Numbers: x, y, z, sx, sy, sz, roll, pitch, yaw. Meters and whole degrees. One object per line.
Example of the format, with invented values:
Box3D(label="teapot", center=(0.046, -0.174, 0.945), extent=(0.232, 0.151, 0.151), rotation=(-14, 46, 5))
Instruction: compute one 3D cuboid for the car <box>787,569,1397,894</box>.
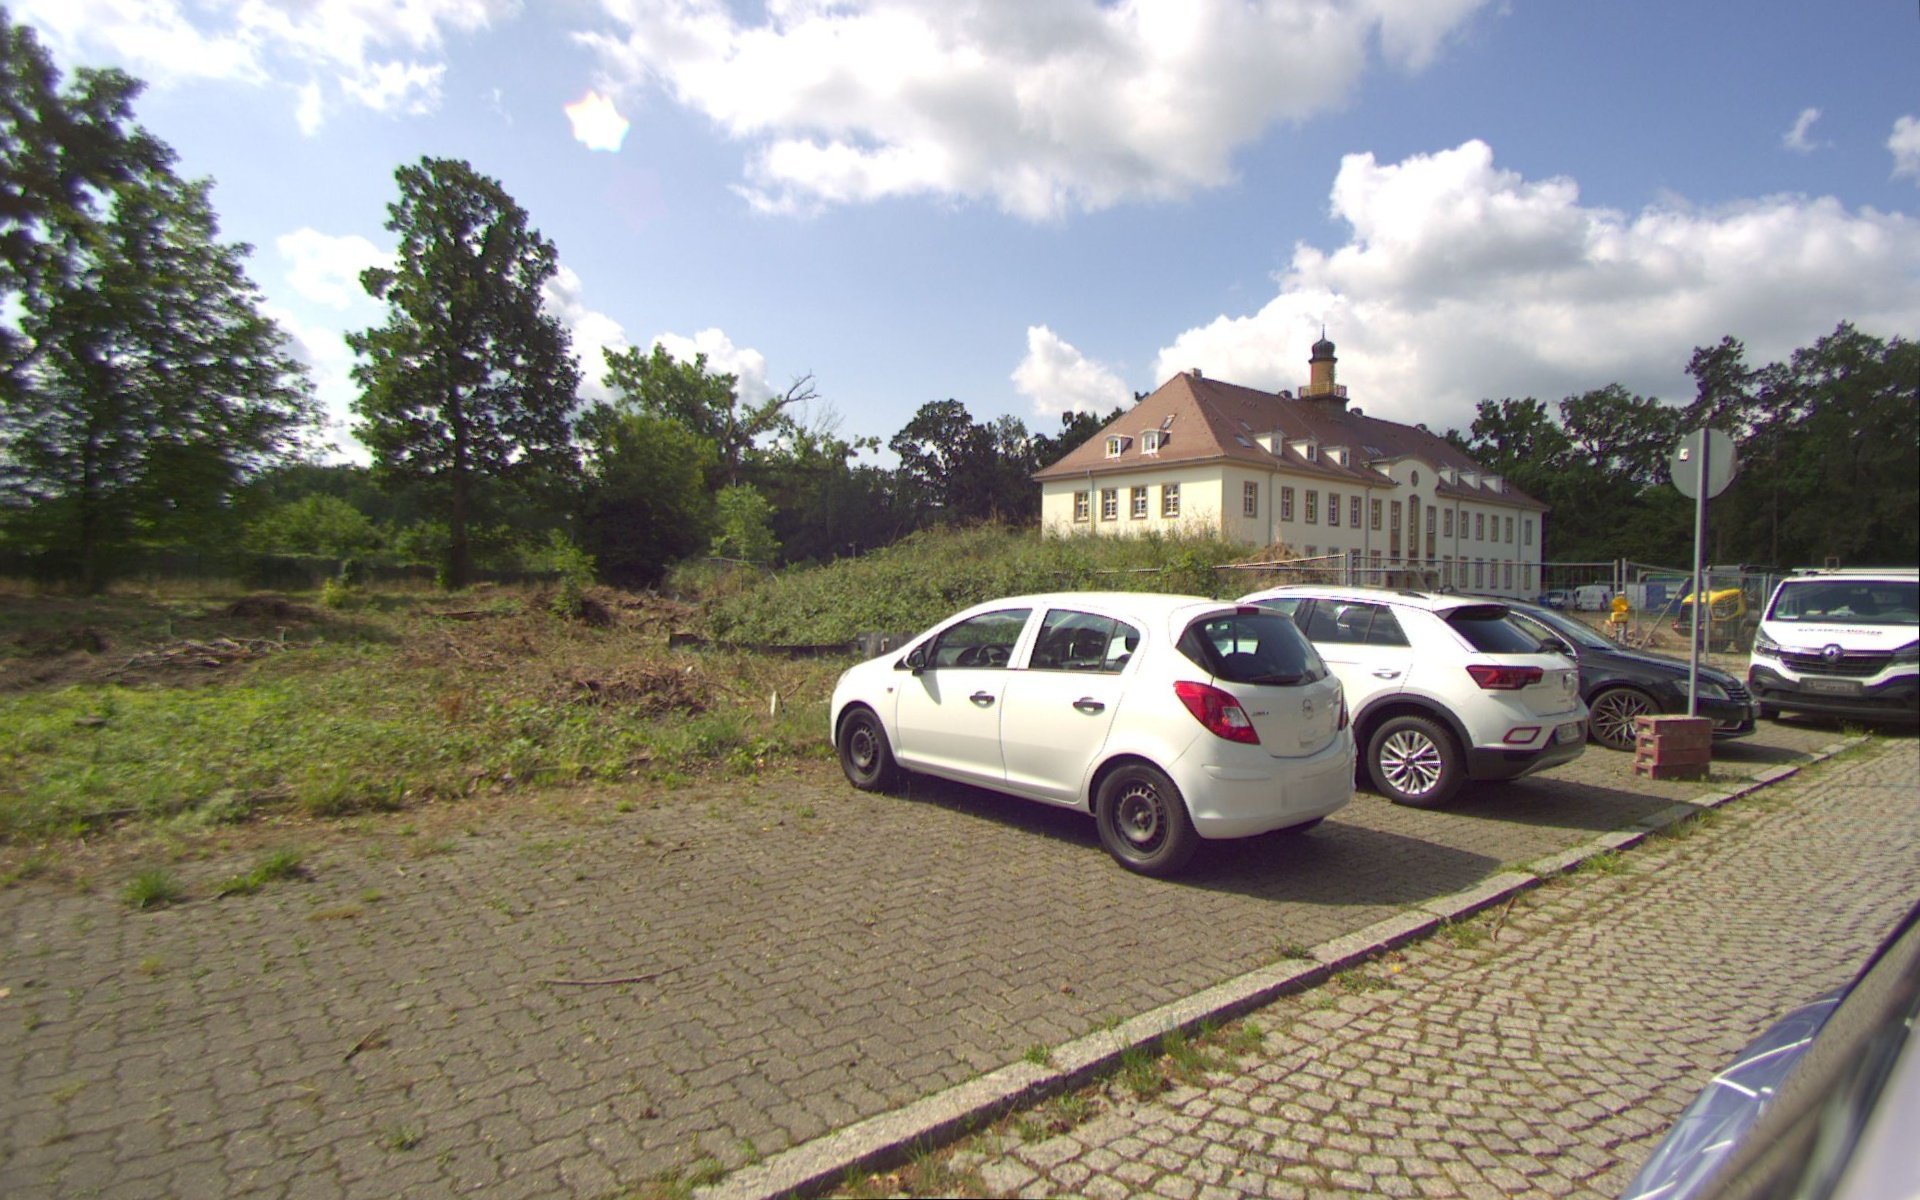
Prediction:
Box3D(label="car", center=(0.613, 0.585, 6.958), extent=(1.675, 1.482, 4.050), rotation=(0, 3, -41))

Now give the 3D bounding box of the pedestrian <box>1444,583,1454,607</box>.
Box3D(label="pedestrian", center=(37.680, -0.402, 78.032), extent=(0.496, 1.810, 0.492), rotation=(1, 0, -17))

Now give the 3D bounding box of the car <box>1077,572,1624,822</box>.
Box3D(label="car", center=(3.076, 0.585, 8.634), extent=(1.716, 1.525, 3.994), rotation=(0, 3, -41))

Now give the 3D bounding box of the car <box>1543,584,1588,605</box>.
Box3D(label="car", center=(53.319, -0.516, 89.154), extent=(4.622, 1.749, 1.884), rotation=(0, 1, -38))

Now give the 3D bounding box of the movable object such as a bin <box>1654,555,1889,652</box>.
Box3D(label="movable object such as a bin", center=(23.536, 0.100, 29.440), extent=(5.538, 2.553, 2.154), rotation=(2, 1, -11))

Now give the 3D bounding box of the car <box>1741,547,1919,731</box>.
Box3D(label="car", center=(12.607, 0.419, 13.717), extent=(5.575, 2.079, 1.919), rotation=(0, 1, -39))

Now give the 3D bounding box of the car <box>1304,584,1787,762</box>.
Box3D(label="car", center=(6.443, 0.647, 11.579), extent=(1.716, 1.493, 4.460), rotation=(0, 3, -43))

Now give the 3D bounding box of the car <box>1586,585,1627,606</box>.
Box3D(label="car", center=(55.397, -0.414, 86.703), extent=(3.966, 1.704, 1.802), rotation=(0, 1, -38))

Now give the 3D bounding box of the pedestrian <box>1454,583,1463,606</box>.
Box3D(label="pedestrian", center=(38.844, -0.405, 78.867), extent=(0.498, 1.810, 0.490), rotation=(1, 0, -42))
